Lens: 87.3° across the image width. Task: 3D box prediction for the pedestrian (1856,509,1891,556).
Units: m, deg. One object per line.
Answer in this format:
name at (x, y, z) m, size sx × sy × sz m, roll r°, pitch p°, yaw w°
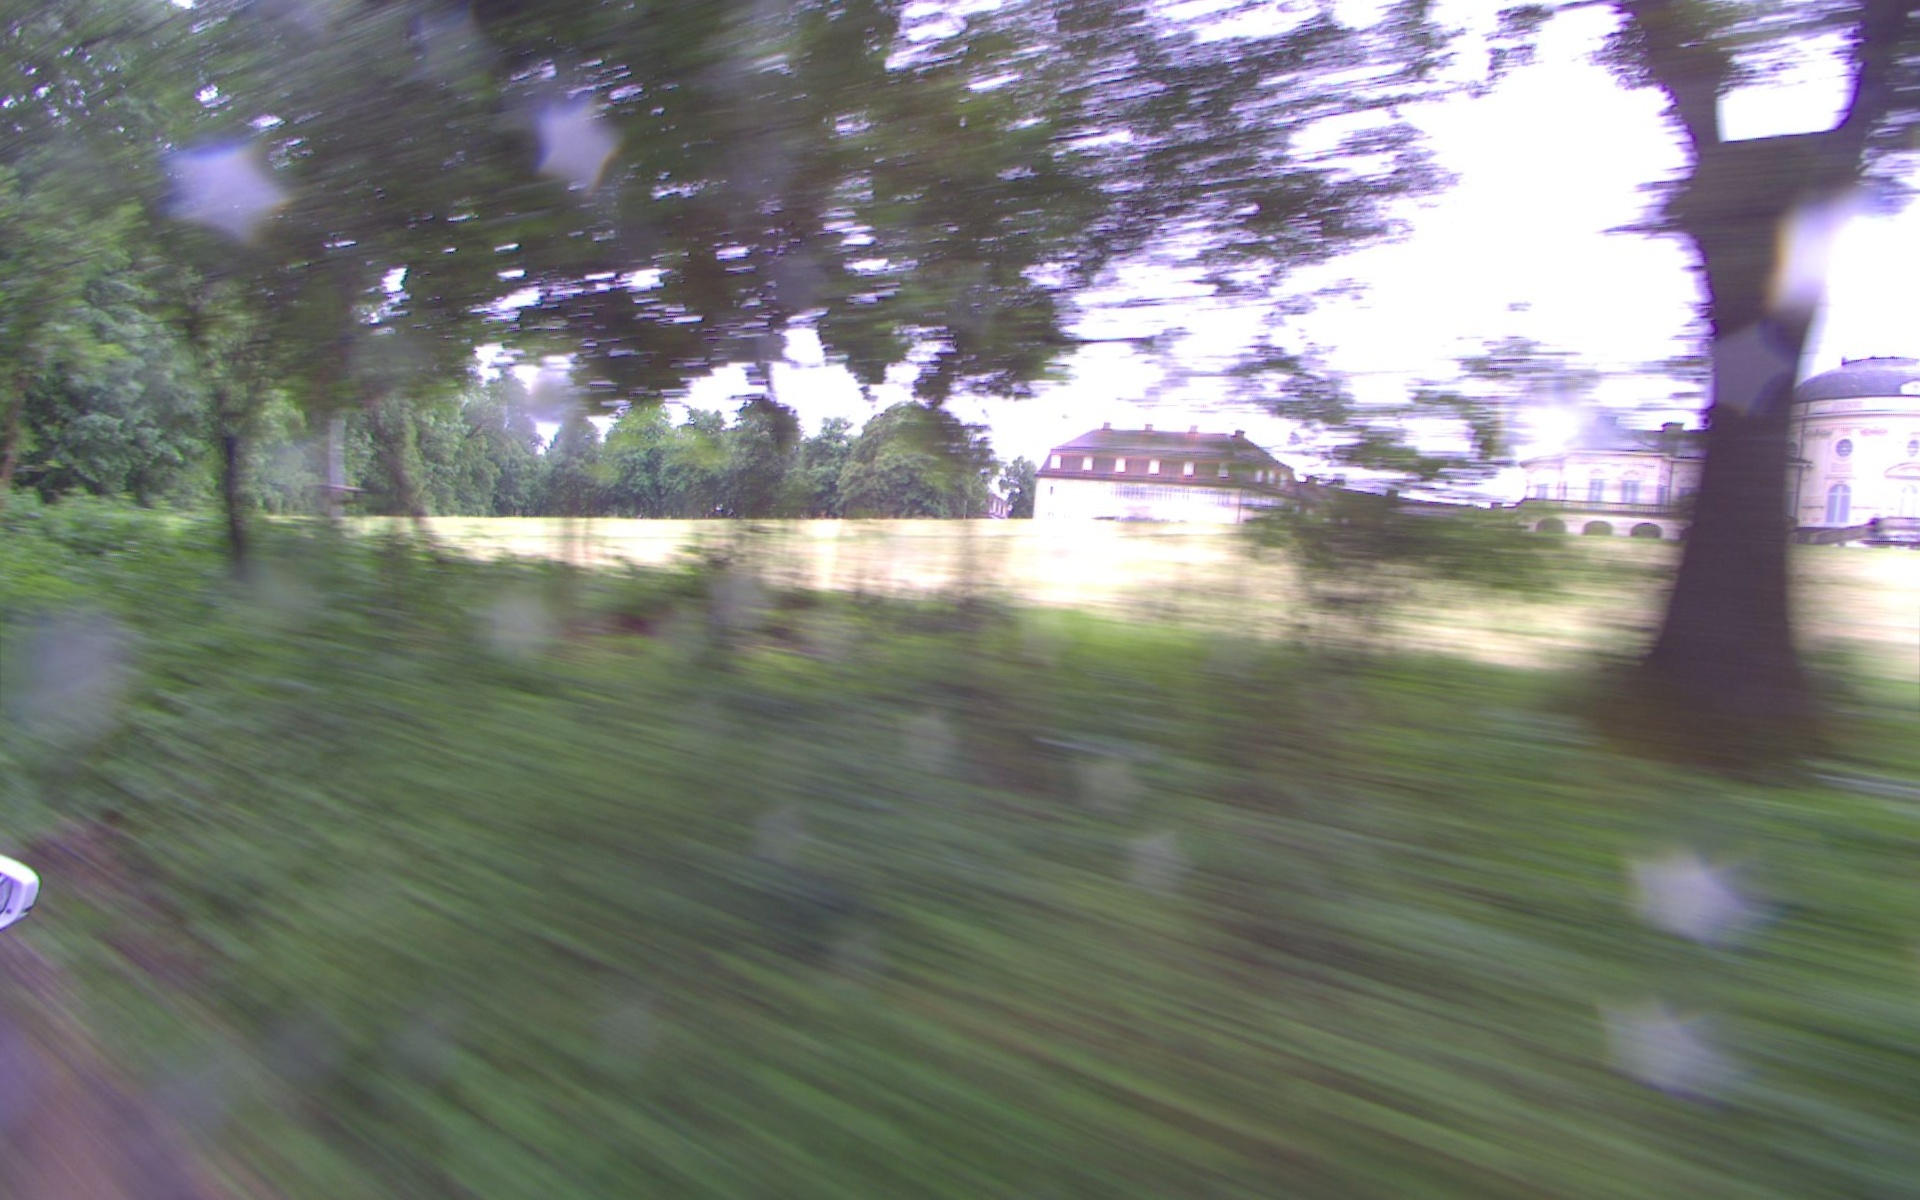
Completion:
pedestrian at (36.803, -2.710, 40.534) m, size 0.791 × 1.758 × 0.925 m, roll 8°, pitch 2°, yaw 39°
